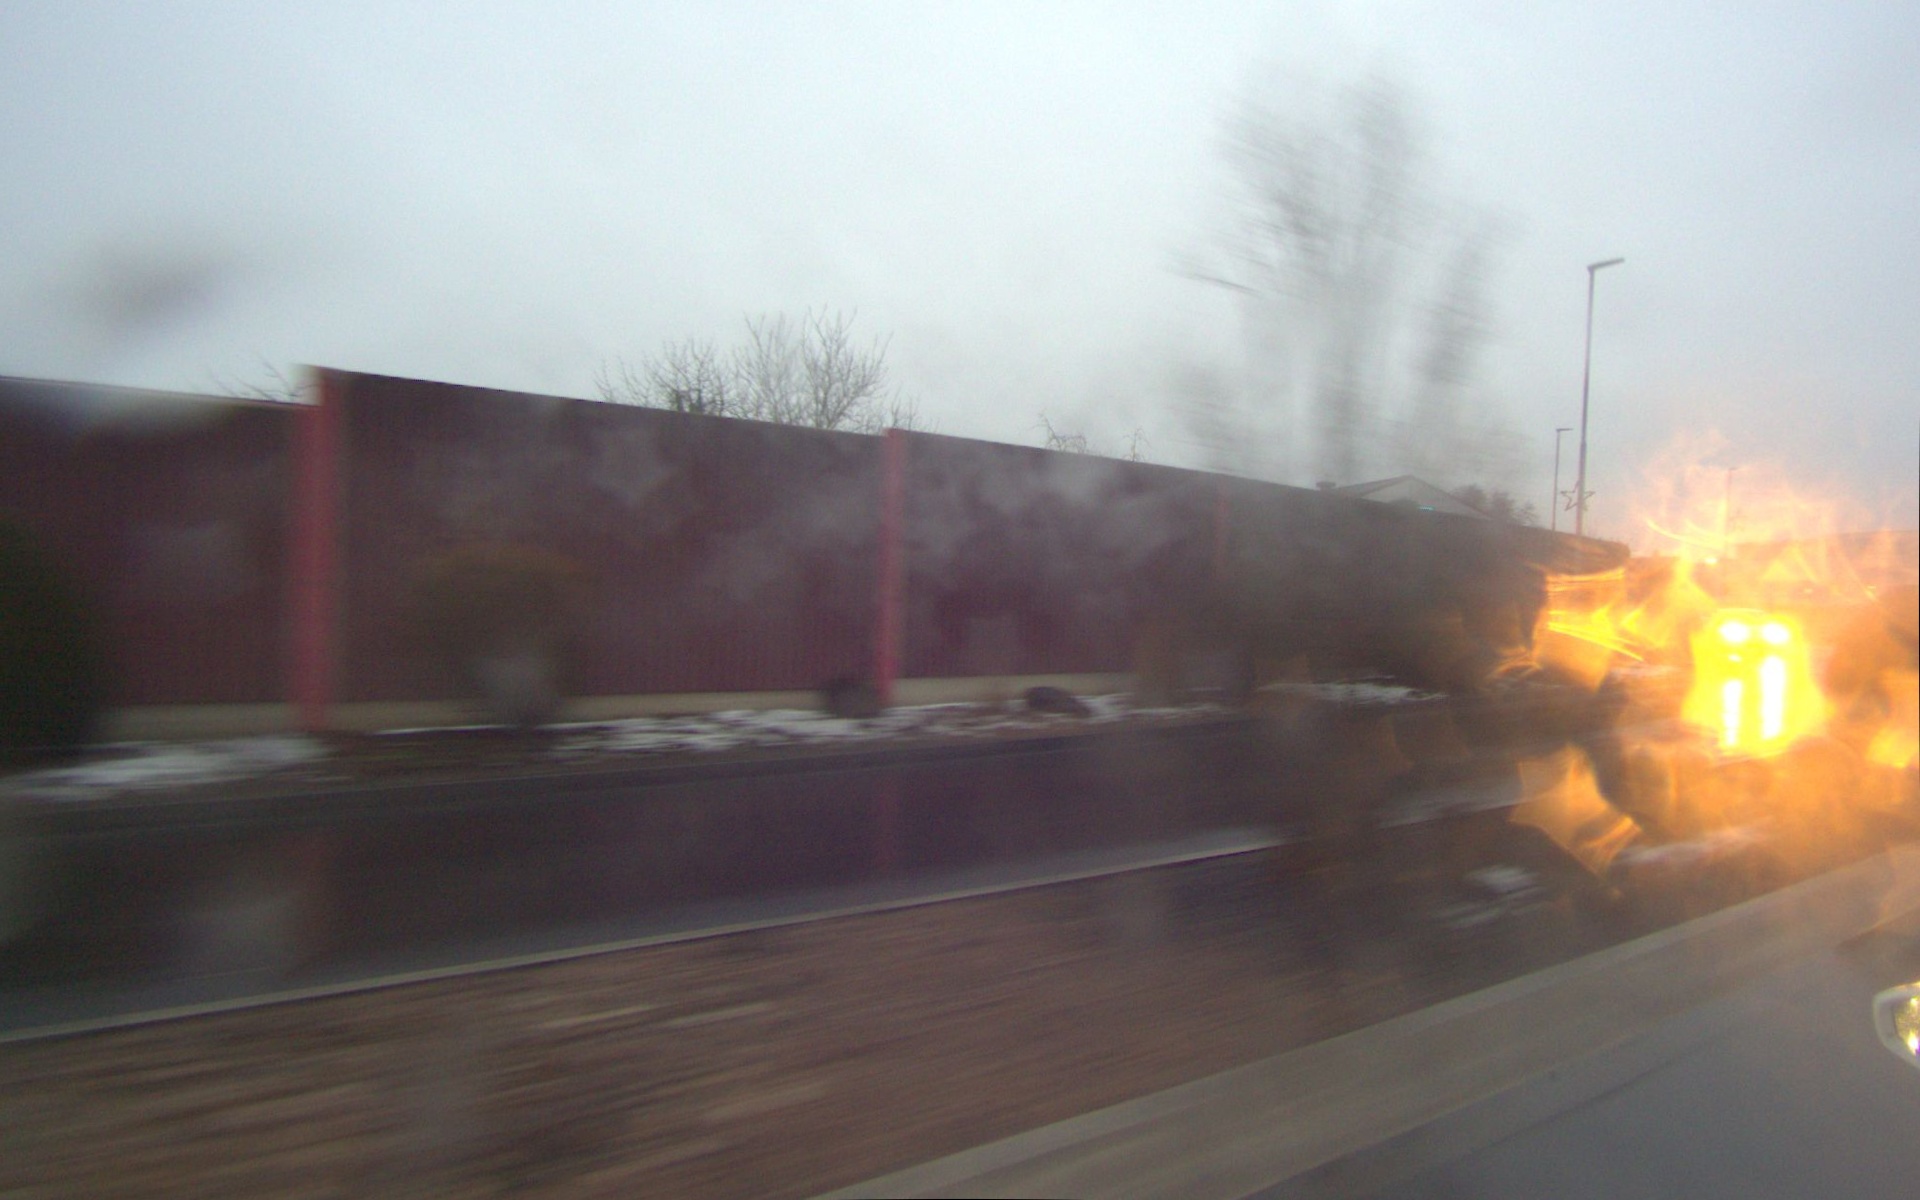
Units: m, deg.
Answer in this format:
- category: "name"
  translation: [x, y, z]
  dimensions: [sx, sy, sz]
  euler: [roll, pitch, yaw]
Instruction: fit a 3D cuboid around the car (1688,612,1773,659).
- category: "car"
  translation: [27.131, 1.213, 35.470]
  dimensions: [1.582, 1.489, 3.682]
  euler: [2, 0, 25]
